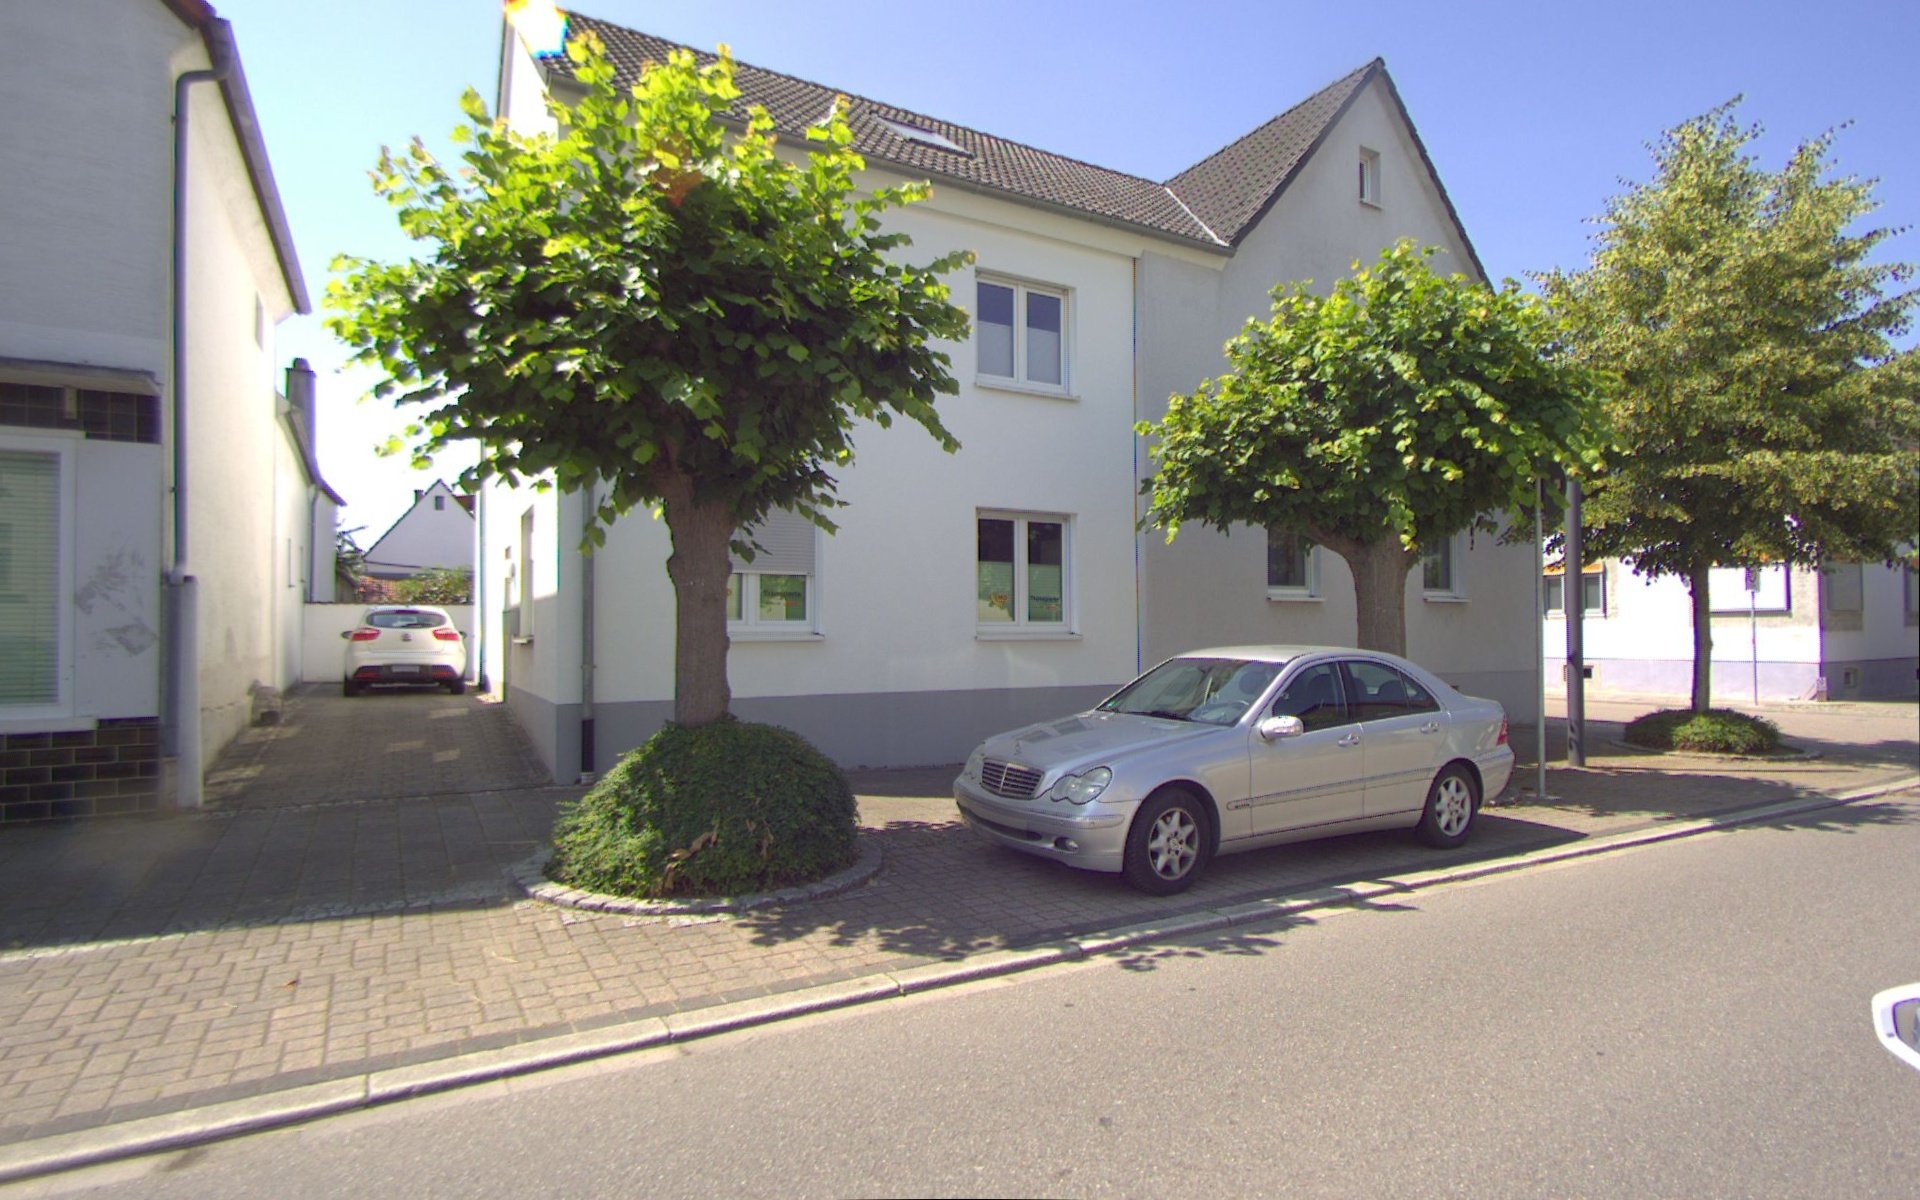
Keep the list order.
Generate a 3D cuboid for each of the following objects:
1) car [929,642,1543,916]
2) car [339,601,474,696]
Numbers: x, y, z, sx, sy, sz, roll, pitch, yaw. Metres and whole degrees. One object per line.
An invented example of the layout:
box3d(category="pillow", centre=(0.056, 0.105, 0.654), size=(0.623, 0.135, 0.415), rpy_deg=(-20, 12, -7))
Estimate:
box3d(category="car", centre=(2.109, 1.029, 7.271), size=(4.356, 1.414, 1.831), rpy_deg=(1, -2, -32))
box3d(category="car", centre=(-9.490, 0.827, 17.239), size=(1.804, 1.419, 3.970), rpy_deg=(1, -3, -30))
